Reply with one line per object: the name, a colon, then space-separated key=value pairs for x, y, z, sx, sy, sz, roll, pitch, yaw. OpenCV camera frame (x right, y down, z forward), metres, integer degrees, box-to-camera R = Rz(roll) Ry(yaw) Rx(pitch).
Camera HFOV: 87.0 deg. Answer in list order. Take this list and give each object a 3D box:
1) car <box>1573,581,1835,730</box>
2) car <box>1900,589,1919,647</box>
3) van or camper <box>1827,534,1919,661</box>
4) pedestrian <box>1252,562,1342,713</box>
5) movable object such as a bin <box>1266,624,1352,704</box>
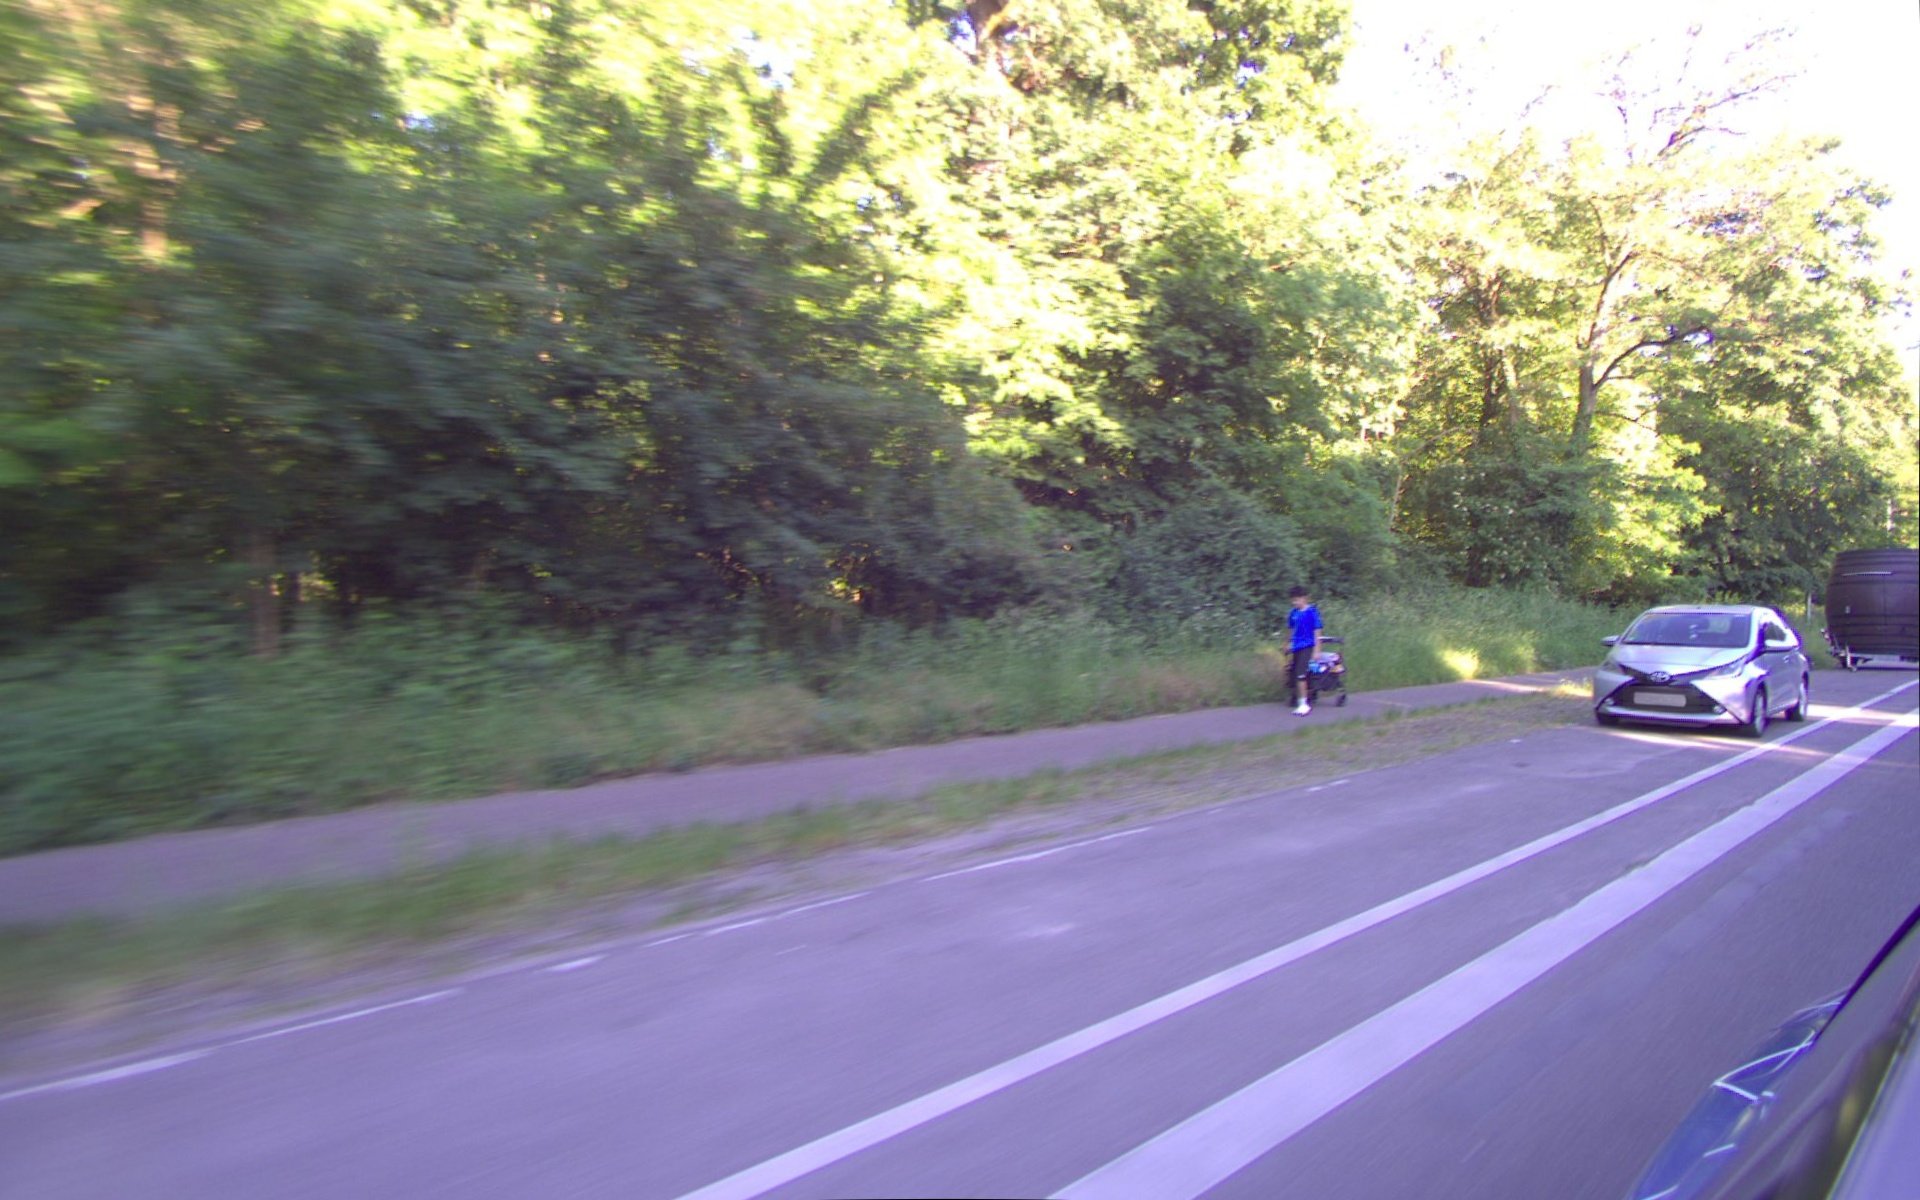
car: x=9.338 y=0.597 z=12.594 sx=3.950 sy=1.565 sz=1.715 roll=0 pitch=-1 yaw=-40
car: x=29.890 y=0.523 z=30.502 sx=4.470 sy=1.686 sz=1.715 roll=0 pitch=-1 yaw=-40
van or camper: x=23.363 y=-0.045 z=25.006 sx=2.441 sy=2.836 sz=6.450 roll=-2 pitch=-1 yaw=45
pedestrian: x=4.532 y=0.470 z=13.626 sx=0.903 sy=1.942 sz=0.769 roll=0 pitch=1 yaw=-41
movable object such as a bin: x=5.050 y=0.900 z=14.654 sx=0.969 sy=1.060 sz=0.791 roll=0 pitch=1 yaw=-41
